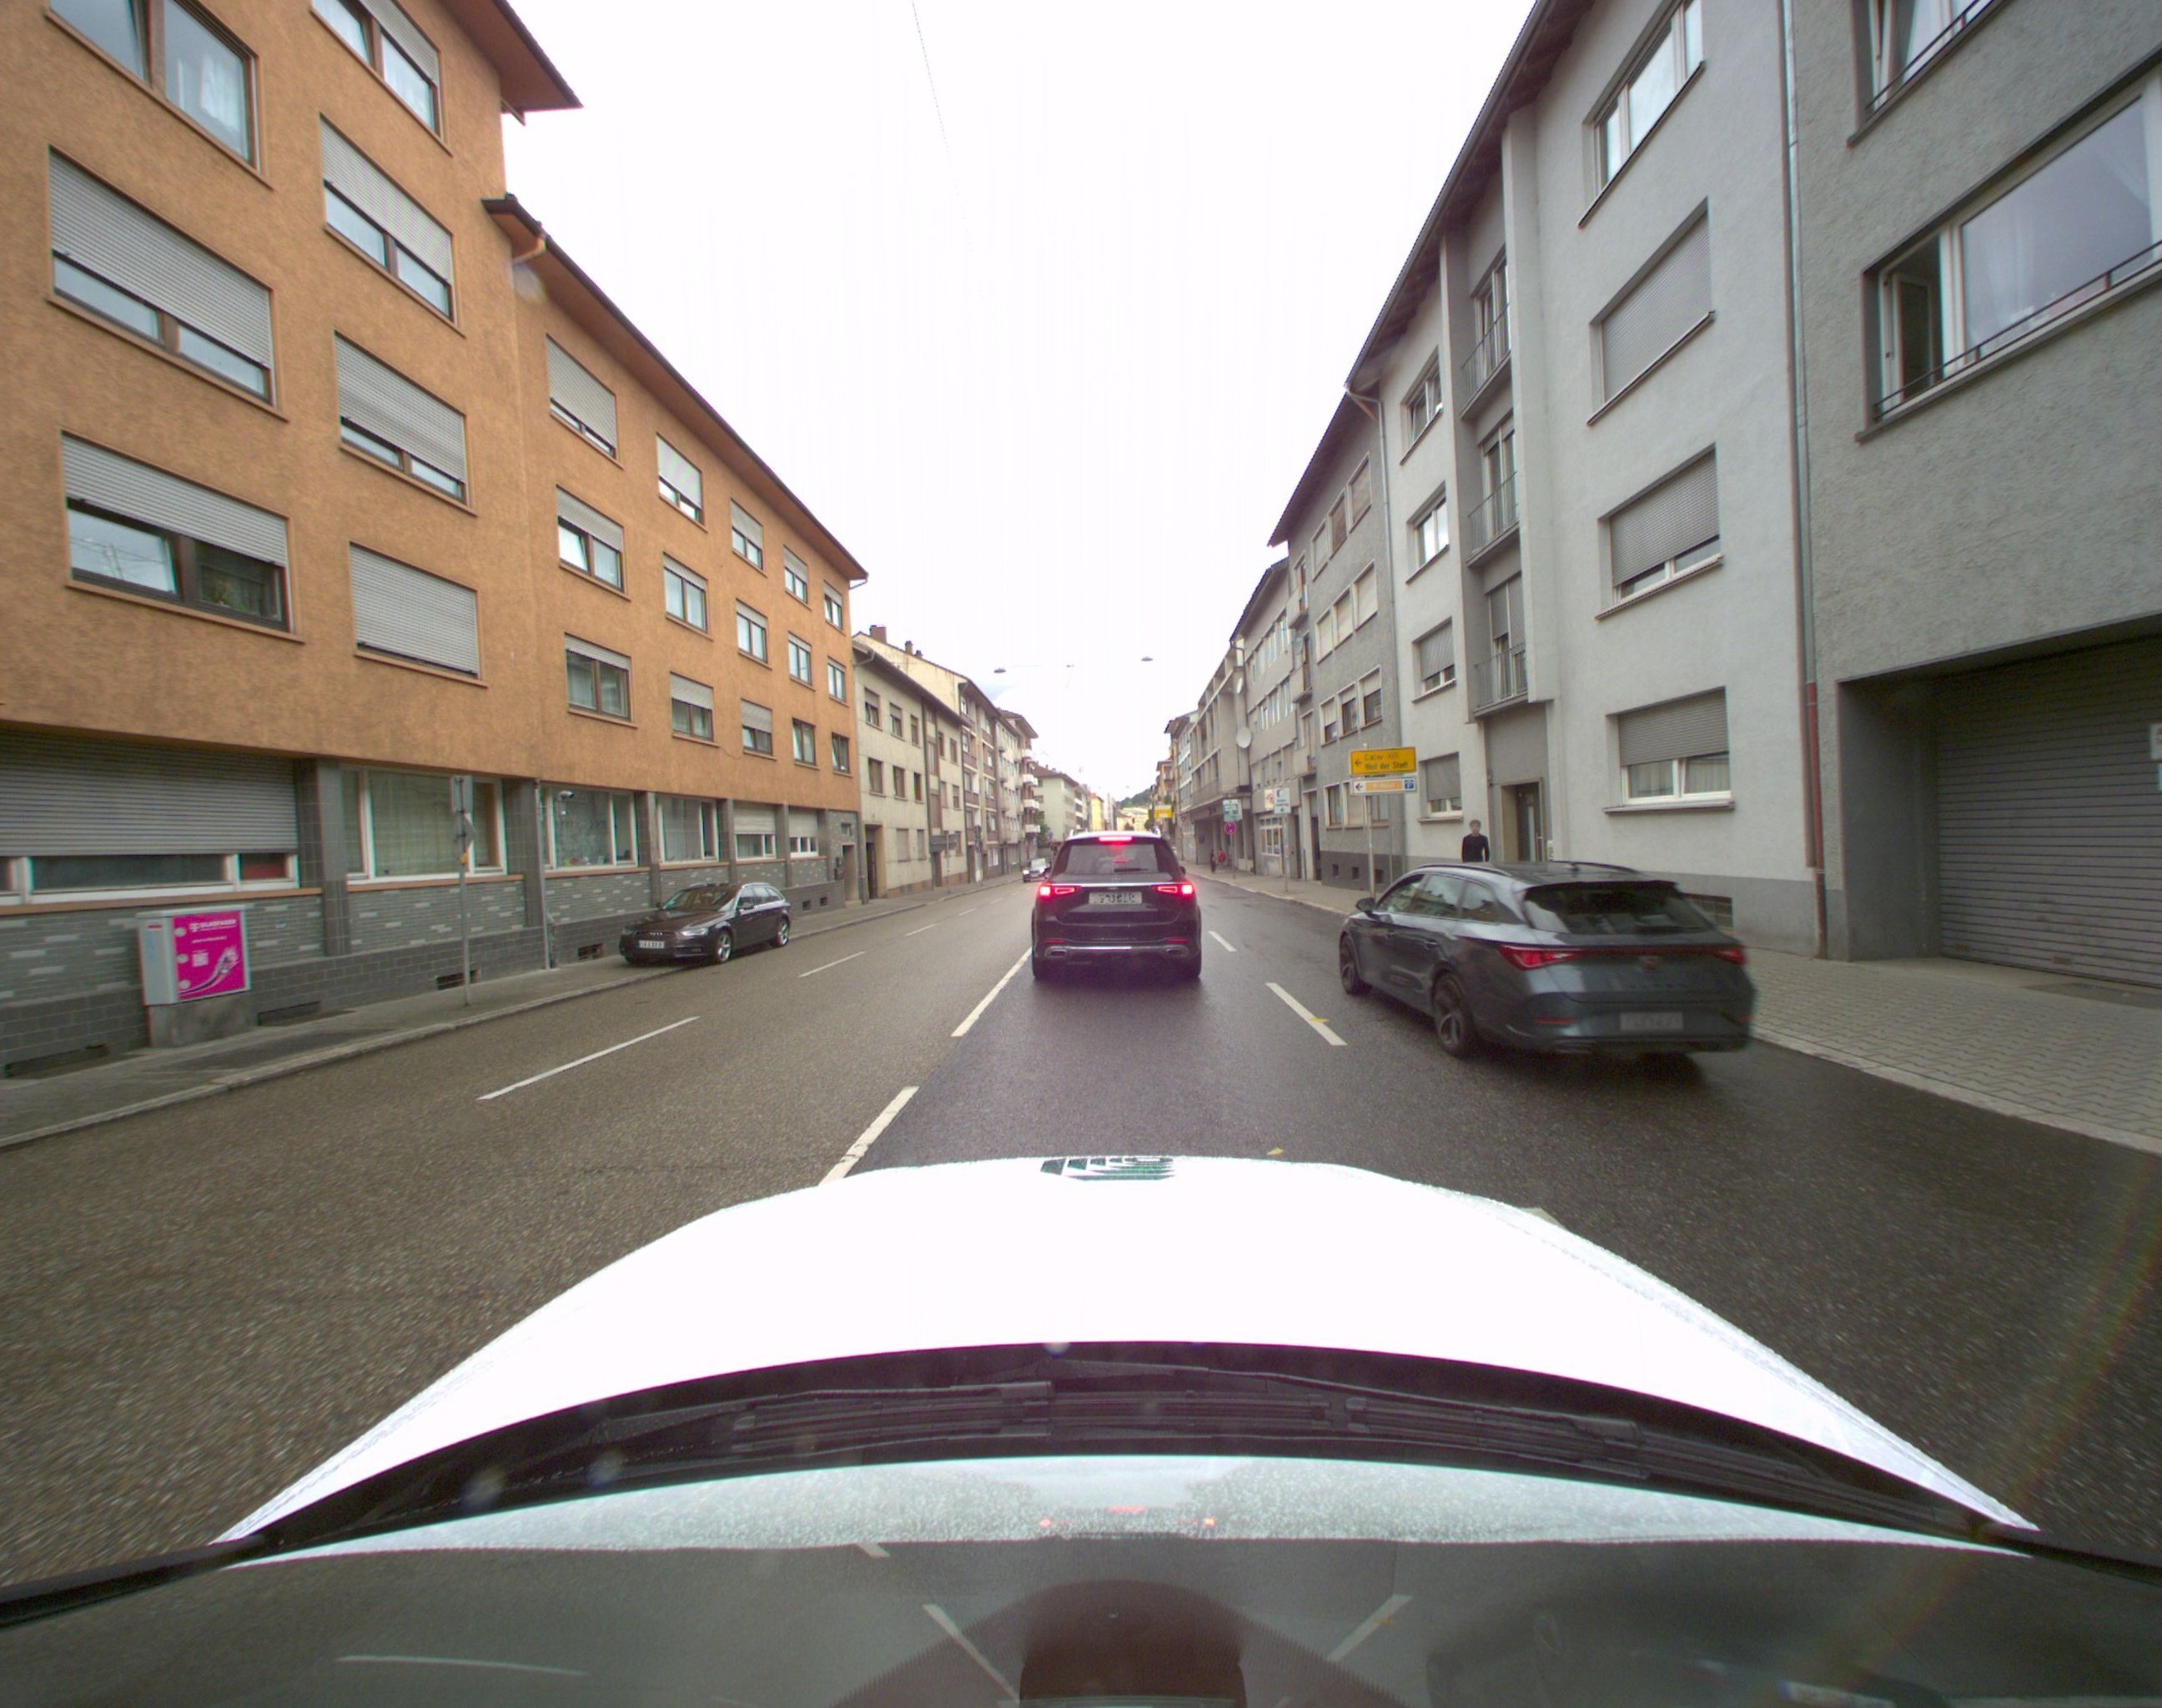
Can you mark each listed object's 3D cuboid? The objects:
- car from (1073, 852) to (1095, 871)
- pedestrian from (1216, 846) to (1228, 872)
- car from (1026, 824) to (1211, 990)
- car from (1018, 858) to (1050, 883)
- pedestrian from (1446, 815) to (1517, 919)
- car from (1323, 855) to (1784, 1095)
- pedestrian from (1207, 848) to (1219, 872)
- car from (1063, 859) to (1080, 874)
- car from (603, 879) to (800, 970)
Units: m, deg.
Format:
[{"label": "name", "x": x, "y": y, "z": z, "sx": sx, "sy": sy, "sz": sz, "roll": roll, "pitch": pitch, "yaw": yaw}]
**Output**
[{"label": "car", "x": 0.329, "y": 0.729, "z": 83.048, "sx": 1.828, "sy": 1.727, "sz": 4.479, "roll": -5, "pitch": 0, "yaw": 4}, {"label": "pedestrian", "x": 8.904, "y": 0.337, "z": 51.401, "sx": 0.558, "sy": 1.578, "sz": 0.526, "roll": -5, "pitch": 0, "yaw": 1}, {"label": "car", "x": 0.468, "y": 0.573, "z": 10.892, "sx": 2.018, "sy": 1.806, "sz": 4.001, "roll": 0, "pitch": 0, "yaw": 2}, {"label": "car", "x": -3.253, "y": 1.110, "z": 57.123, "sx": 1.697, "sy": 1.507, "sz": 4.161, "roll": -5, "pitch": 0, "yaw": 2}, {"label": "pedestrian", "x": 7.320, "y": 0.226, "z": 14.937, "sx": 0.641, "sy": 1.778, "sz": 1.057, "roll": -5, "pitch": 0, "yaw": 1}, {"label": "car", "x": 3.486, "y": 0.732, "z": 7.072, "sx": 1.615, "sy": 1.430, "sz": 4.314, "roll": 0, "pitch": 0, "yaw": 2}, {"label": "pedestrian", "x": 8.316, "y": 0.375, "z": 51.309, "sx": 0.505, "sy": 1.500, "sz": 0.562, "roll": -5, "pitch": 0, "yaw": 0}, {"label": "car", "x": -1.110, "y": 1.526, "z": 98.172, "sx": 1.791, "sy": 1.584, "sz": 4.317, "roll": -5, "pitch": 0, "yaw": 1}, {"label": "car", "x": -7.455, "y": 1.316, "z": 16.581, "sx": 1.788, "sy": 1.438, "sz": 4.528, "roll": 0, "pitch": 0, "yaw": 2}]
